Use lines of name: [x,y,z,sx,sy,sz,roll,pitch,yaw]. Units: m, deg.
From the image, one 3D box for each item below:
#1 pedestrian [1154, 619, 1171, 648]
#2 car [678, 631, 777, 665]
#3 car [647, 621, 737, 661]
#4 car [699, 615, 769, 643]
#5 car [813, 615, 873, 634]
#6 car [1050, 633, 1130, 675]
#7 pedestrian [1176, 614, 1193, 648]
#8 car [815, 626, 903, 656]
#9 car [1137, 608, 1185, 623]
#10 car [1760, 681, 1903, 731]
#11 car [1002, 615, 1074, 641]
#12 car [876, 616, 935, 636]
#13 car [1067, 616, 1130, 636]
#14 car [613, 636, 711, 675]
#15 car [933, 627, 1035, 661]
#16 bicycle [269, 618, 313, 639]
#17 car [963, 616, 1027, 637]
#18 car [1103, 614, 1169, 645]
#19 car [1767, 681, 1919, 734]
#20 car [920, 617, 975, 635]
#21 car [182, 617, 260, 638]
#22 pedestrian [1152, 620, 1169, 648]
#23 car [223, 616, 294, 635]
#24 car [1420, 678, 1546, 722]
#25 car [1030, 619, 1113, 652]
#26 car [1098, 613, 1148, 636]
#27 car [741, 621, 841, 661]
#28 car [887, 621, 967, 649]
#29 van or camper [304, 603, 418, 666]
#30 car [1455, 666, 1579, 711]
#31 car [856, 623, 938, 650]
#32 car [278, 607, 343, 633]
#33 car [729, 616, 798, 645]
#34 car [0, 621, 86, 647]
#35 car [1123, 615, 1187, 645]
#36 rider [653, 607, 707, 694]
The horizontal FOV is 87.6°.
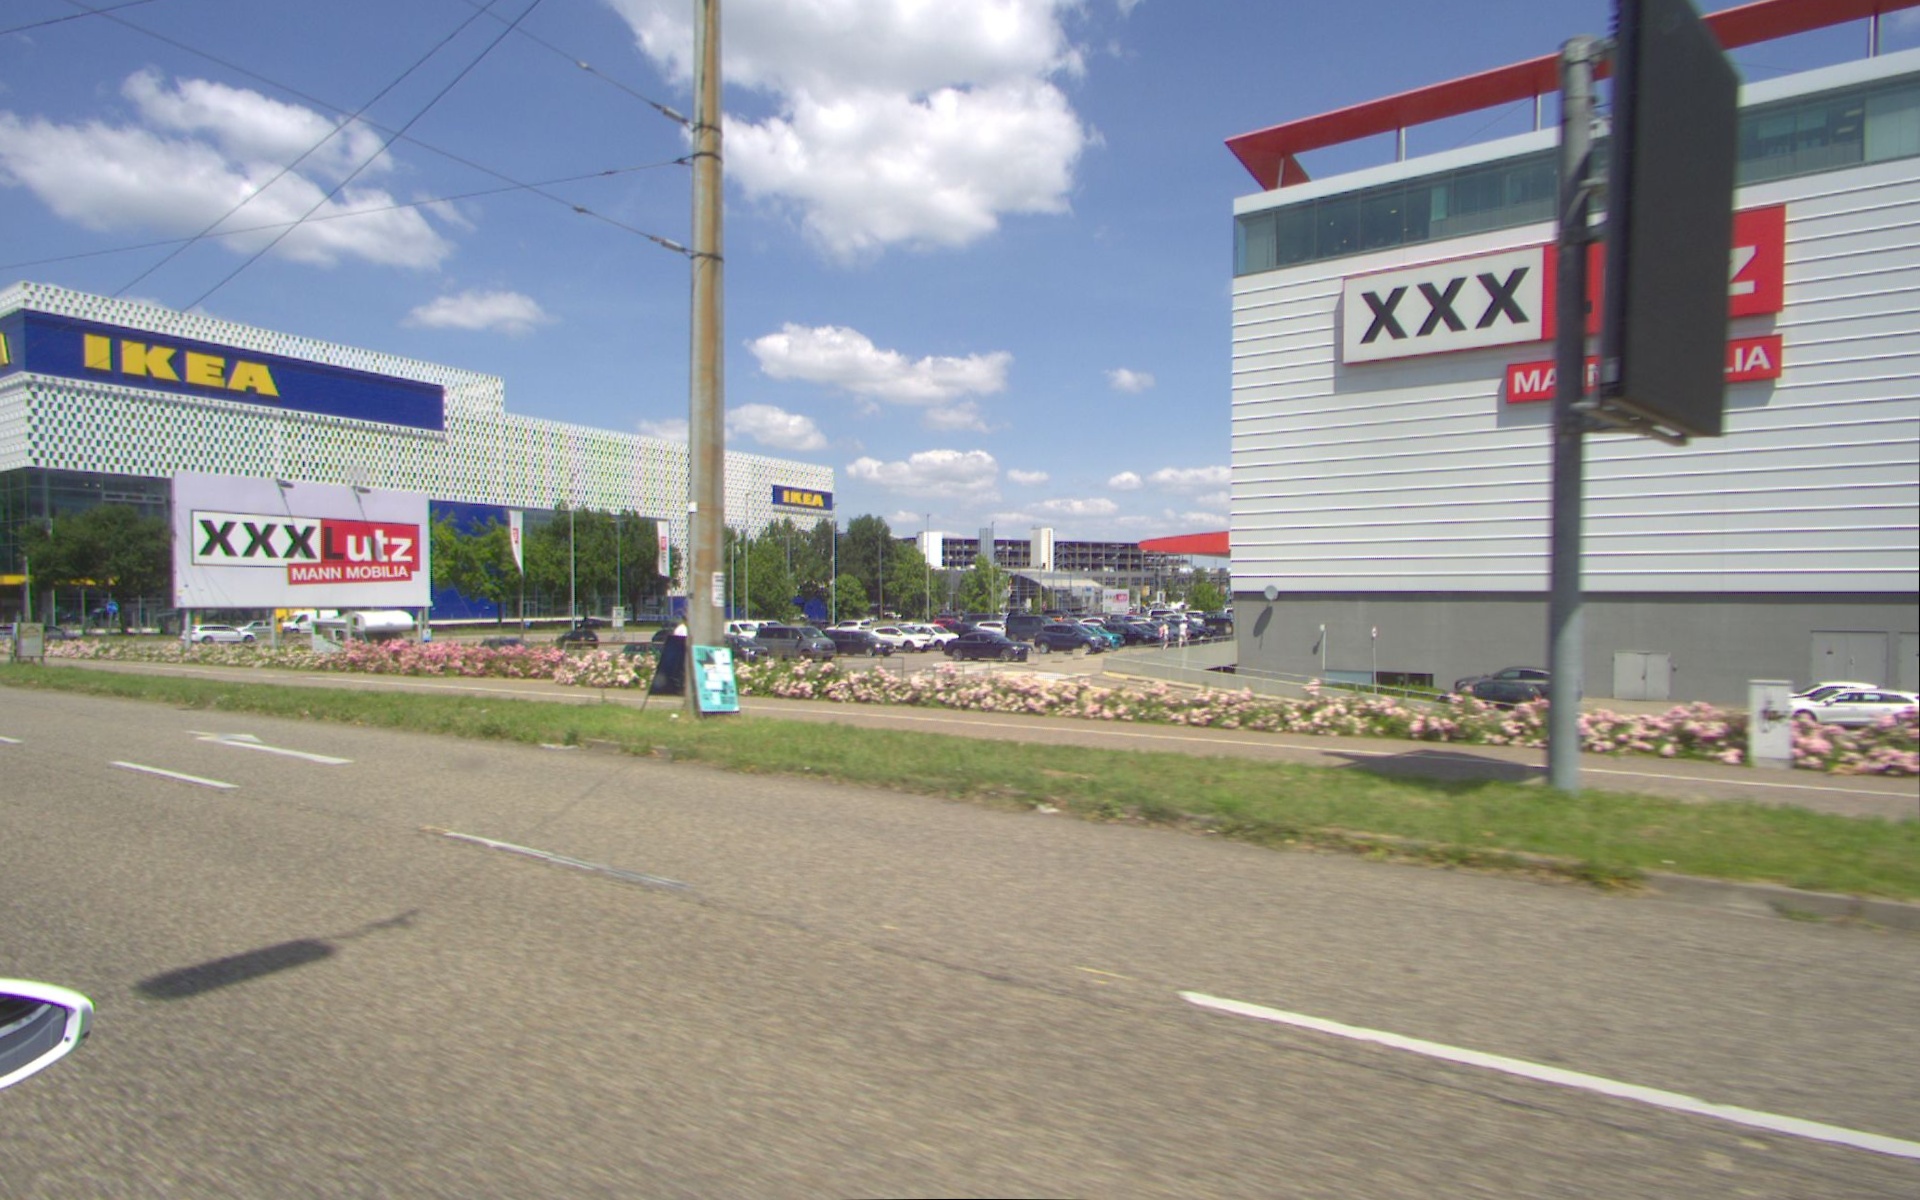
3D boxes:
pedestrian: [11.249,1.867,55.582,0.725,1.578,0.739,0,-1,30]
car: [-11.623,2.376,49.938,4.930,1.570,1.990,0,-1,33]
car: [-14.751,2.219,55.020,4.930,2.041,1.989,0,1,33]
car: [-15.999,2.047,70.884,4.930,1.876,1.990,0,-1,33]
car: [-10.192,2.153,87.405,4.922,1.631,1.993,0,-1,27]
car: [7.750,3.213,59.800,4.271,2.357,1.990,0,-2,33]
pedestrian: [12.556,1.747,55.904,0.725,1.893,0.739,0,-1,30]
car: [-5.851,2.330,58.032,4.930,1.631,1.990,0,-1,33]
car: [22.646,1.779,112.627,4.930,1.631,1.990,0,-1,33]
car: [33.849,4.068,39.049,3.943,1.633,1.990,-1,-1,32]
car: [5.965,2.143,76.685,5.106,1.889,1.991,0,-1,31]
car: [-4.773,2.255,87.131,4.930,1.631,1.990,0,-1,33]
car: [11.728,2.194,84.857,4.930,1.631,1.990,0,-1,33]
car: [-13.621,2.488,45.779,4.242,1.517,1.988,0,2,33]
car: [1.210,2.224,51.540,4.930,1.631,1.990,0,-1,33]
bicycle: [-48.484,2.094,72.590,0.976,1.500,2.415,0,-1,37]
car: [2.877,2.185,82.463,4.930,1.631,1.990,0,-1,33]
car: [11.759,1.963,66.941,3.943,2.040,1.990,0,-1,32]
car: [32.718,3.885,36.399,5.073,1.633,1.990,-1,-1,32]
car: [-1.177,2.422,93.589,4.930,1.631,1.990,0,-1,33]
car: [-55.472,2.104,75.295,1.964,1.505,4.386,1,-2,17]
pedestrian: [11.336,1.909,56.661,0.725,1.578,0.739,0,-1,30]
car: [-58.811,2.173,84.023,1.974,1.505,4.485,0,-2,36]
car: [20.447,3.855,39.187,4.288,1.416,1.991,-1,-1,31]
car: [6.393,2.031,57.503,4.271,1.804,1.990,0,-2,33]
car: [14.665,2.182,90.116,3.943,2.040,1.990,-1,-1,32]
car: [-9.144,2.175,54.050,5.456,2.039,1.990,0,-1,33]
car: [-2.146,2.240,64.694,4.930,1.672,1.990,0,-1,33]
van or camper: [-31.083,1.748,51.860,7.129,3.059,2.499,0,-1,37]
car: [23.684,3.706,42.633,4.524,1.633,1.990,-1,-1,32]
car: [-3.944,2.265,62.535,4.930,1.631,1.990,0,-1,33]
car: [-61.151,1.908,94.312,1.973,2.339,4.747,0,-1,35]
car: [-14.293,2.195,72.847,4.930,2.033,1.990,0,-1,33]
car: [-56.080,2.067,60.850,1.961,1.505,4.146,1,-2,8]
car: [13.420,2.048,68.977,3.943,2.040,1.990,-1,-1,32]
rider: [-4.855,0.859,17.361,0.609,1.476,0.668,0,-1,32]
